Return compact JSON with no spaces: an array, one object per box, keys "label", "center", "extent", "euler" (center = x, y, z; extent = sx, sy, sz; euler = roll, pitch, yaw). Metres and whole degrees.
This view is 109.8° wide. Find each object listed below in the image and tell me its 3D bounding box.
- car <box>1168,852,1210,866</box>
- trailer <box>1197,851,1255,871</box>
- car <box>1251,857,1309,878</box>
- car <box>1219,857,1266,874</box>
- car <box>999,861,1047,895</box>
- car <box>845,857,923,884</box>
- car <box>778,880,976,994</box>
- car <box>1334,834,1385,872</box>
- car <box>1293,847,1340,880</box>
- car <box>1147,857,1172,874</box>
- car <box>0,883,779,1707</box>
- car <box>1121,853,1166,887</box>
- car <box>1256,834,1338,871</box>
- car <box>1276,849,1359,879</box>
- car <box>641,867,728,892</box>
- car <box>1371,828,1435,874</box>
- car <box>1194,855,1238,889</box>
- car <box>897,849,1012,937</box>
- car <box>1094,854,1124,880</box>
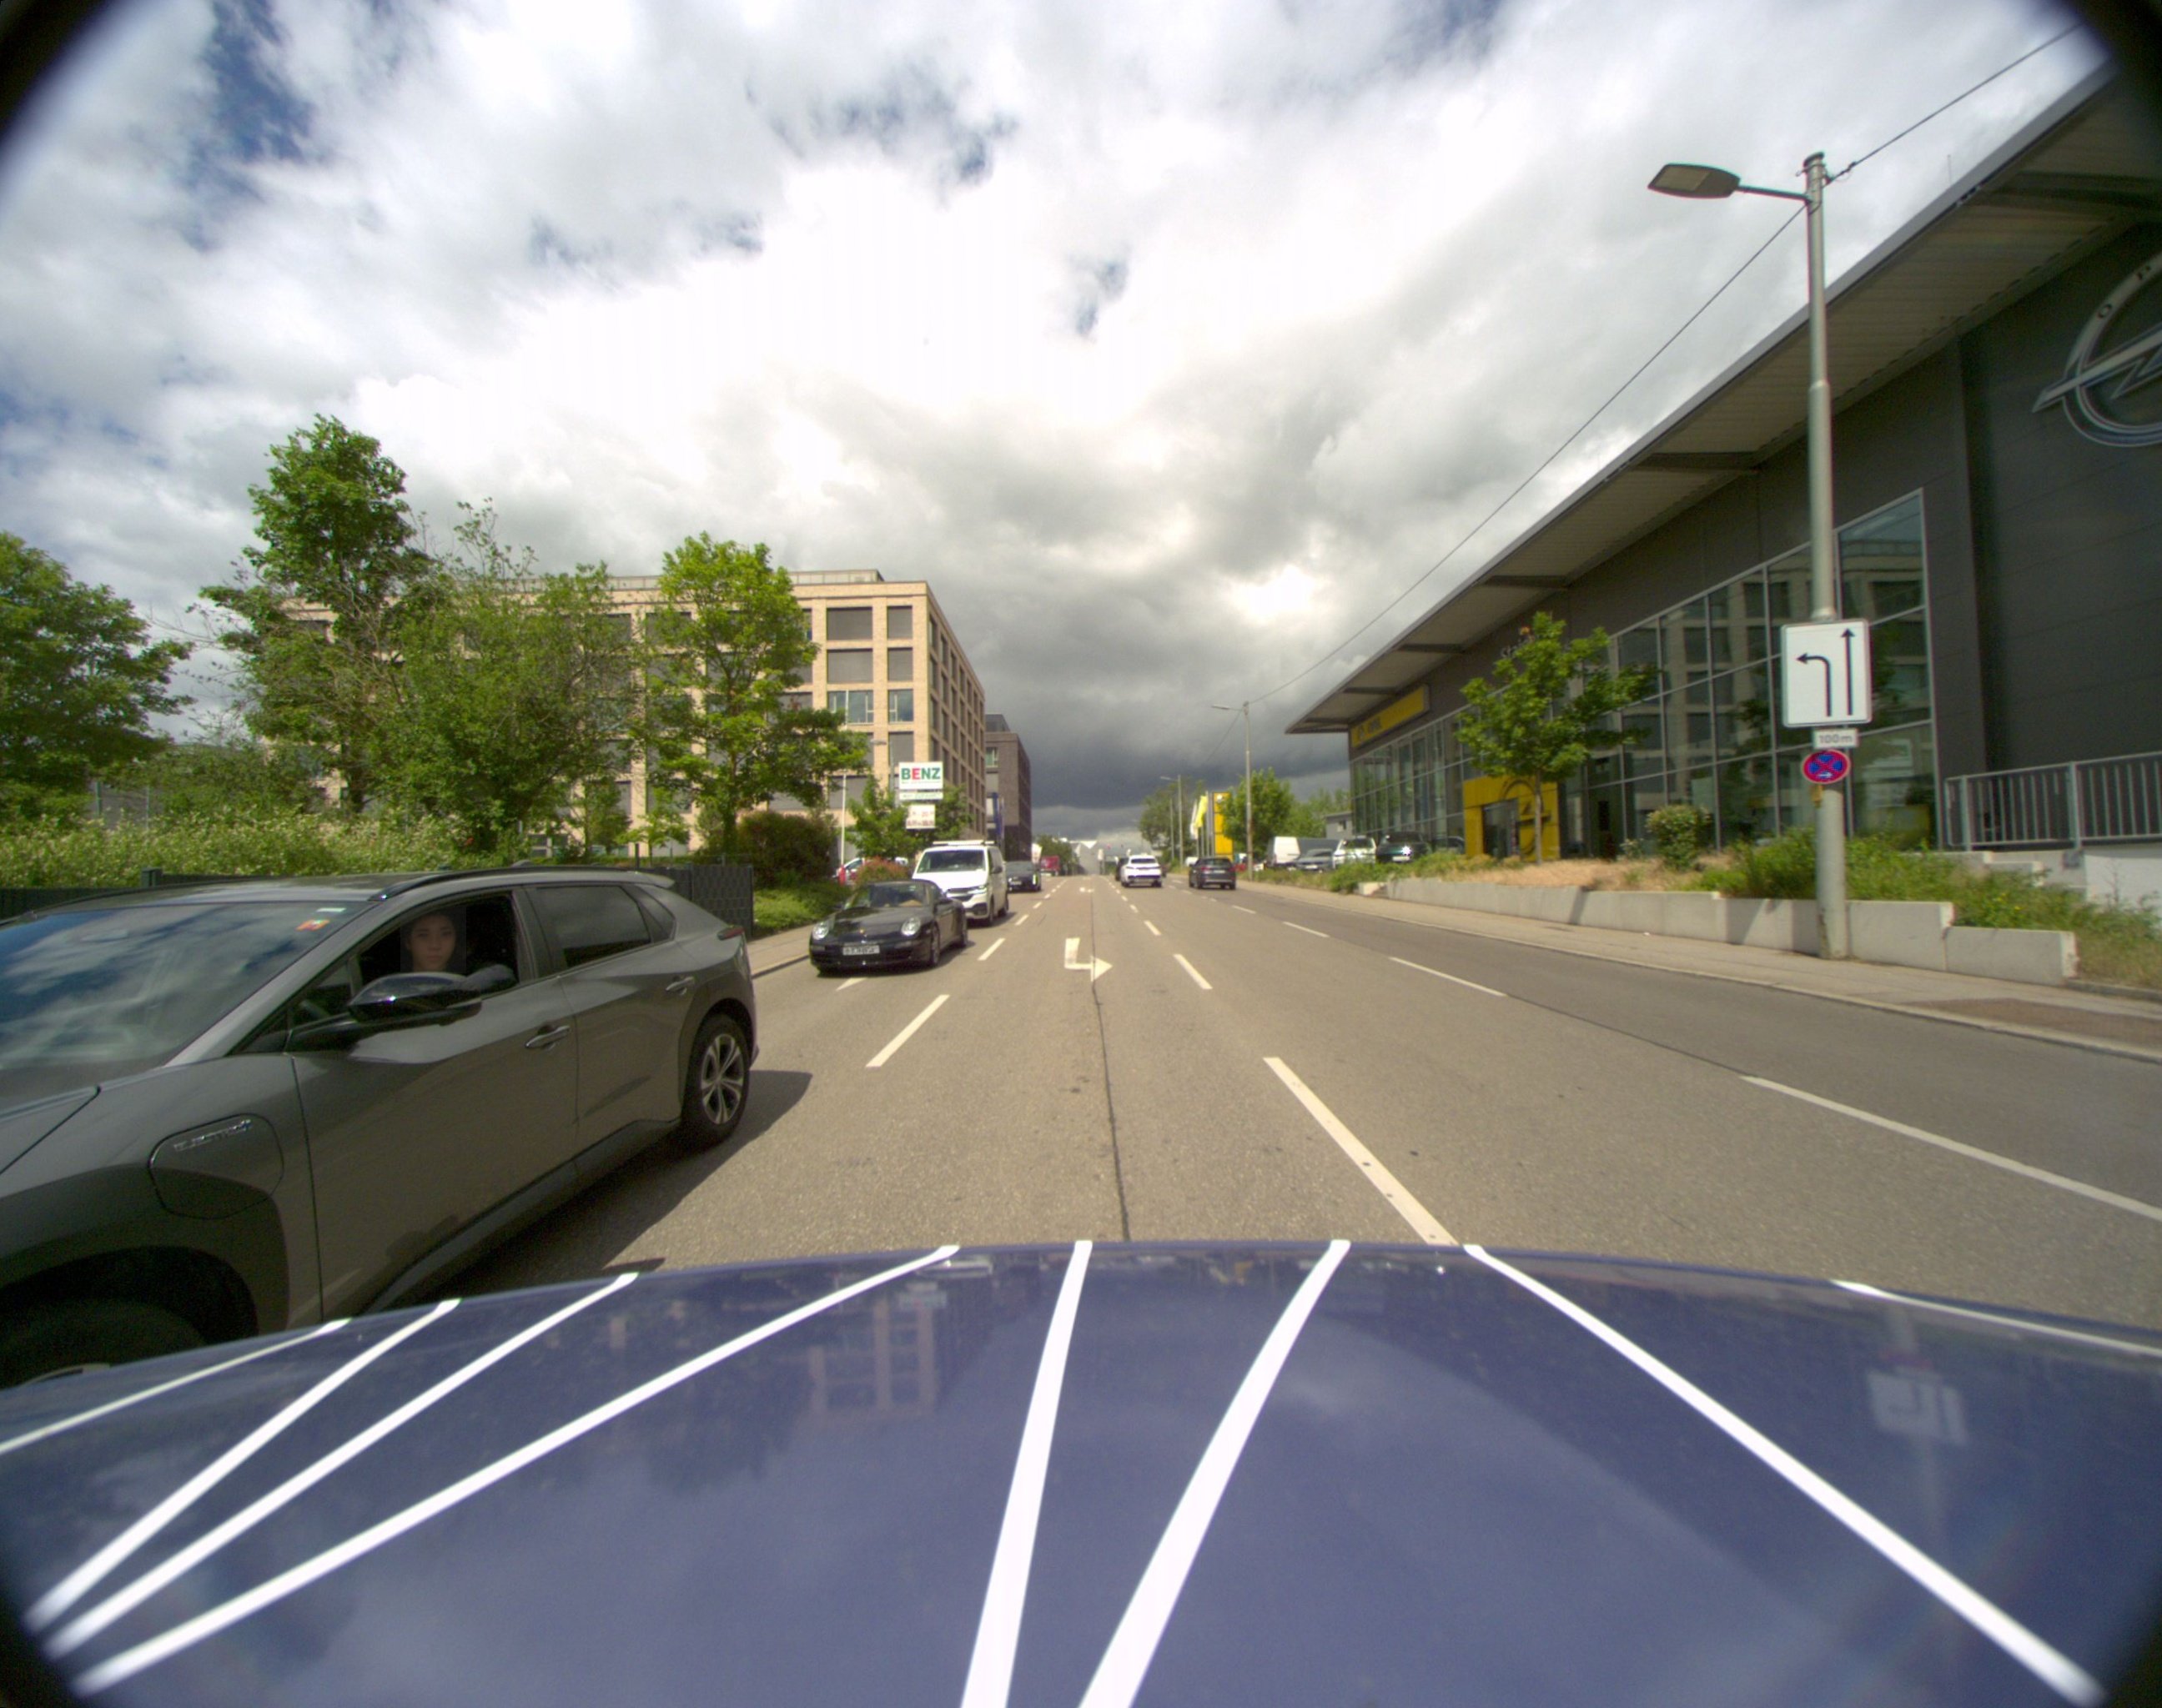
[{"label":"car","center":[11.958,0.575,84.425],"extent":[4.252,1.473,2.095],"euler":[-1,0,-2]},{"label":"trailer","center":[13.086,0.601,68.680],"extent":[4.835,1.742,2.095],"euler":[-1,0,-3]},{"label":"car","center":[14.967,1.017,57.288],"extent":[3.946,1.518,1.561],"euler":[-1,0,-2]},{"label":"car","center":[13.712,0.977,64.798],"extent":[3.669,1.401,1.815],"euler":[-1,0,2]},{"label":"car","center":[-2.700,1.111,36.320],"extent":[1.777,1.267,4.567],"euler":[1,2,2]},{"label":"car","center":[-11.731,0.967,45.359],"extent":[4.220,1.567,1.735],"euler":[-1,0,-4]},{"label":"car","center":[-2.988,1.175,12.243],"extent":[1.777,1.267,4.569],"euler":[-3,0,2]},{"label":"car","center":[12.386,-0.057,33.660],"extent":[1.793,1.604,4.115],"euler":[-1,1,25]},{"label":"car","center":[12.158,0.455,39.055],"extent":[1.794,1.604,4.116],"euler":[-1,0,24]},{"label":"car","center":[6.786,0.935,65.807],"extent":[1.763,1.405,3.734],"euler":[1,0,1]},{"label":"car","center":[-2.973,1.024,2.550],"extent":[1.924,1.604,4.683],"euler":[-3,0,1]},{"label":"car","center":[3.161,0.791,39.247],"extent":[1.924,1.604,4.416],"euler":[-2,0,1]},{"label":"car","center":[13.527,-0.110,47.818],"extent":[4.531,2.182,2.179],"euler":[-1,1,-1]},{"label":"car","center":[13.340,0.569,43.015],"extent":[4.108,1.604,1.797],"euler":[-1,0,-8]},{"label":"car","center":[-23.372,1.478,44.878],"extent":[4.219,1.410,1.735],"euler":[-1,0,-1]},{"label":"car","center":[12.289,-0.090,28.849],"extent":[1.817,1.604,4.117],"euler":[-1,0,29]},{"label":"car","center":[6.522,0.833,37.014],"extent":[1.762,1.513,3.959],"euler":[0,1,5]},{"label":"car","center":[-2.968,0.860,18.882],"extent":[1.964,1.840,4.645],"euler":[-3,0,1]},{"label":"car","center":[1.841,0.829,51.205],"extent":[1.797,1.604,4.107],"euler":[0,1,-1]}]
